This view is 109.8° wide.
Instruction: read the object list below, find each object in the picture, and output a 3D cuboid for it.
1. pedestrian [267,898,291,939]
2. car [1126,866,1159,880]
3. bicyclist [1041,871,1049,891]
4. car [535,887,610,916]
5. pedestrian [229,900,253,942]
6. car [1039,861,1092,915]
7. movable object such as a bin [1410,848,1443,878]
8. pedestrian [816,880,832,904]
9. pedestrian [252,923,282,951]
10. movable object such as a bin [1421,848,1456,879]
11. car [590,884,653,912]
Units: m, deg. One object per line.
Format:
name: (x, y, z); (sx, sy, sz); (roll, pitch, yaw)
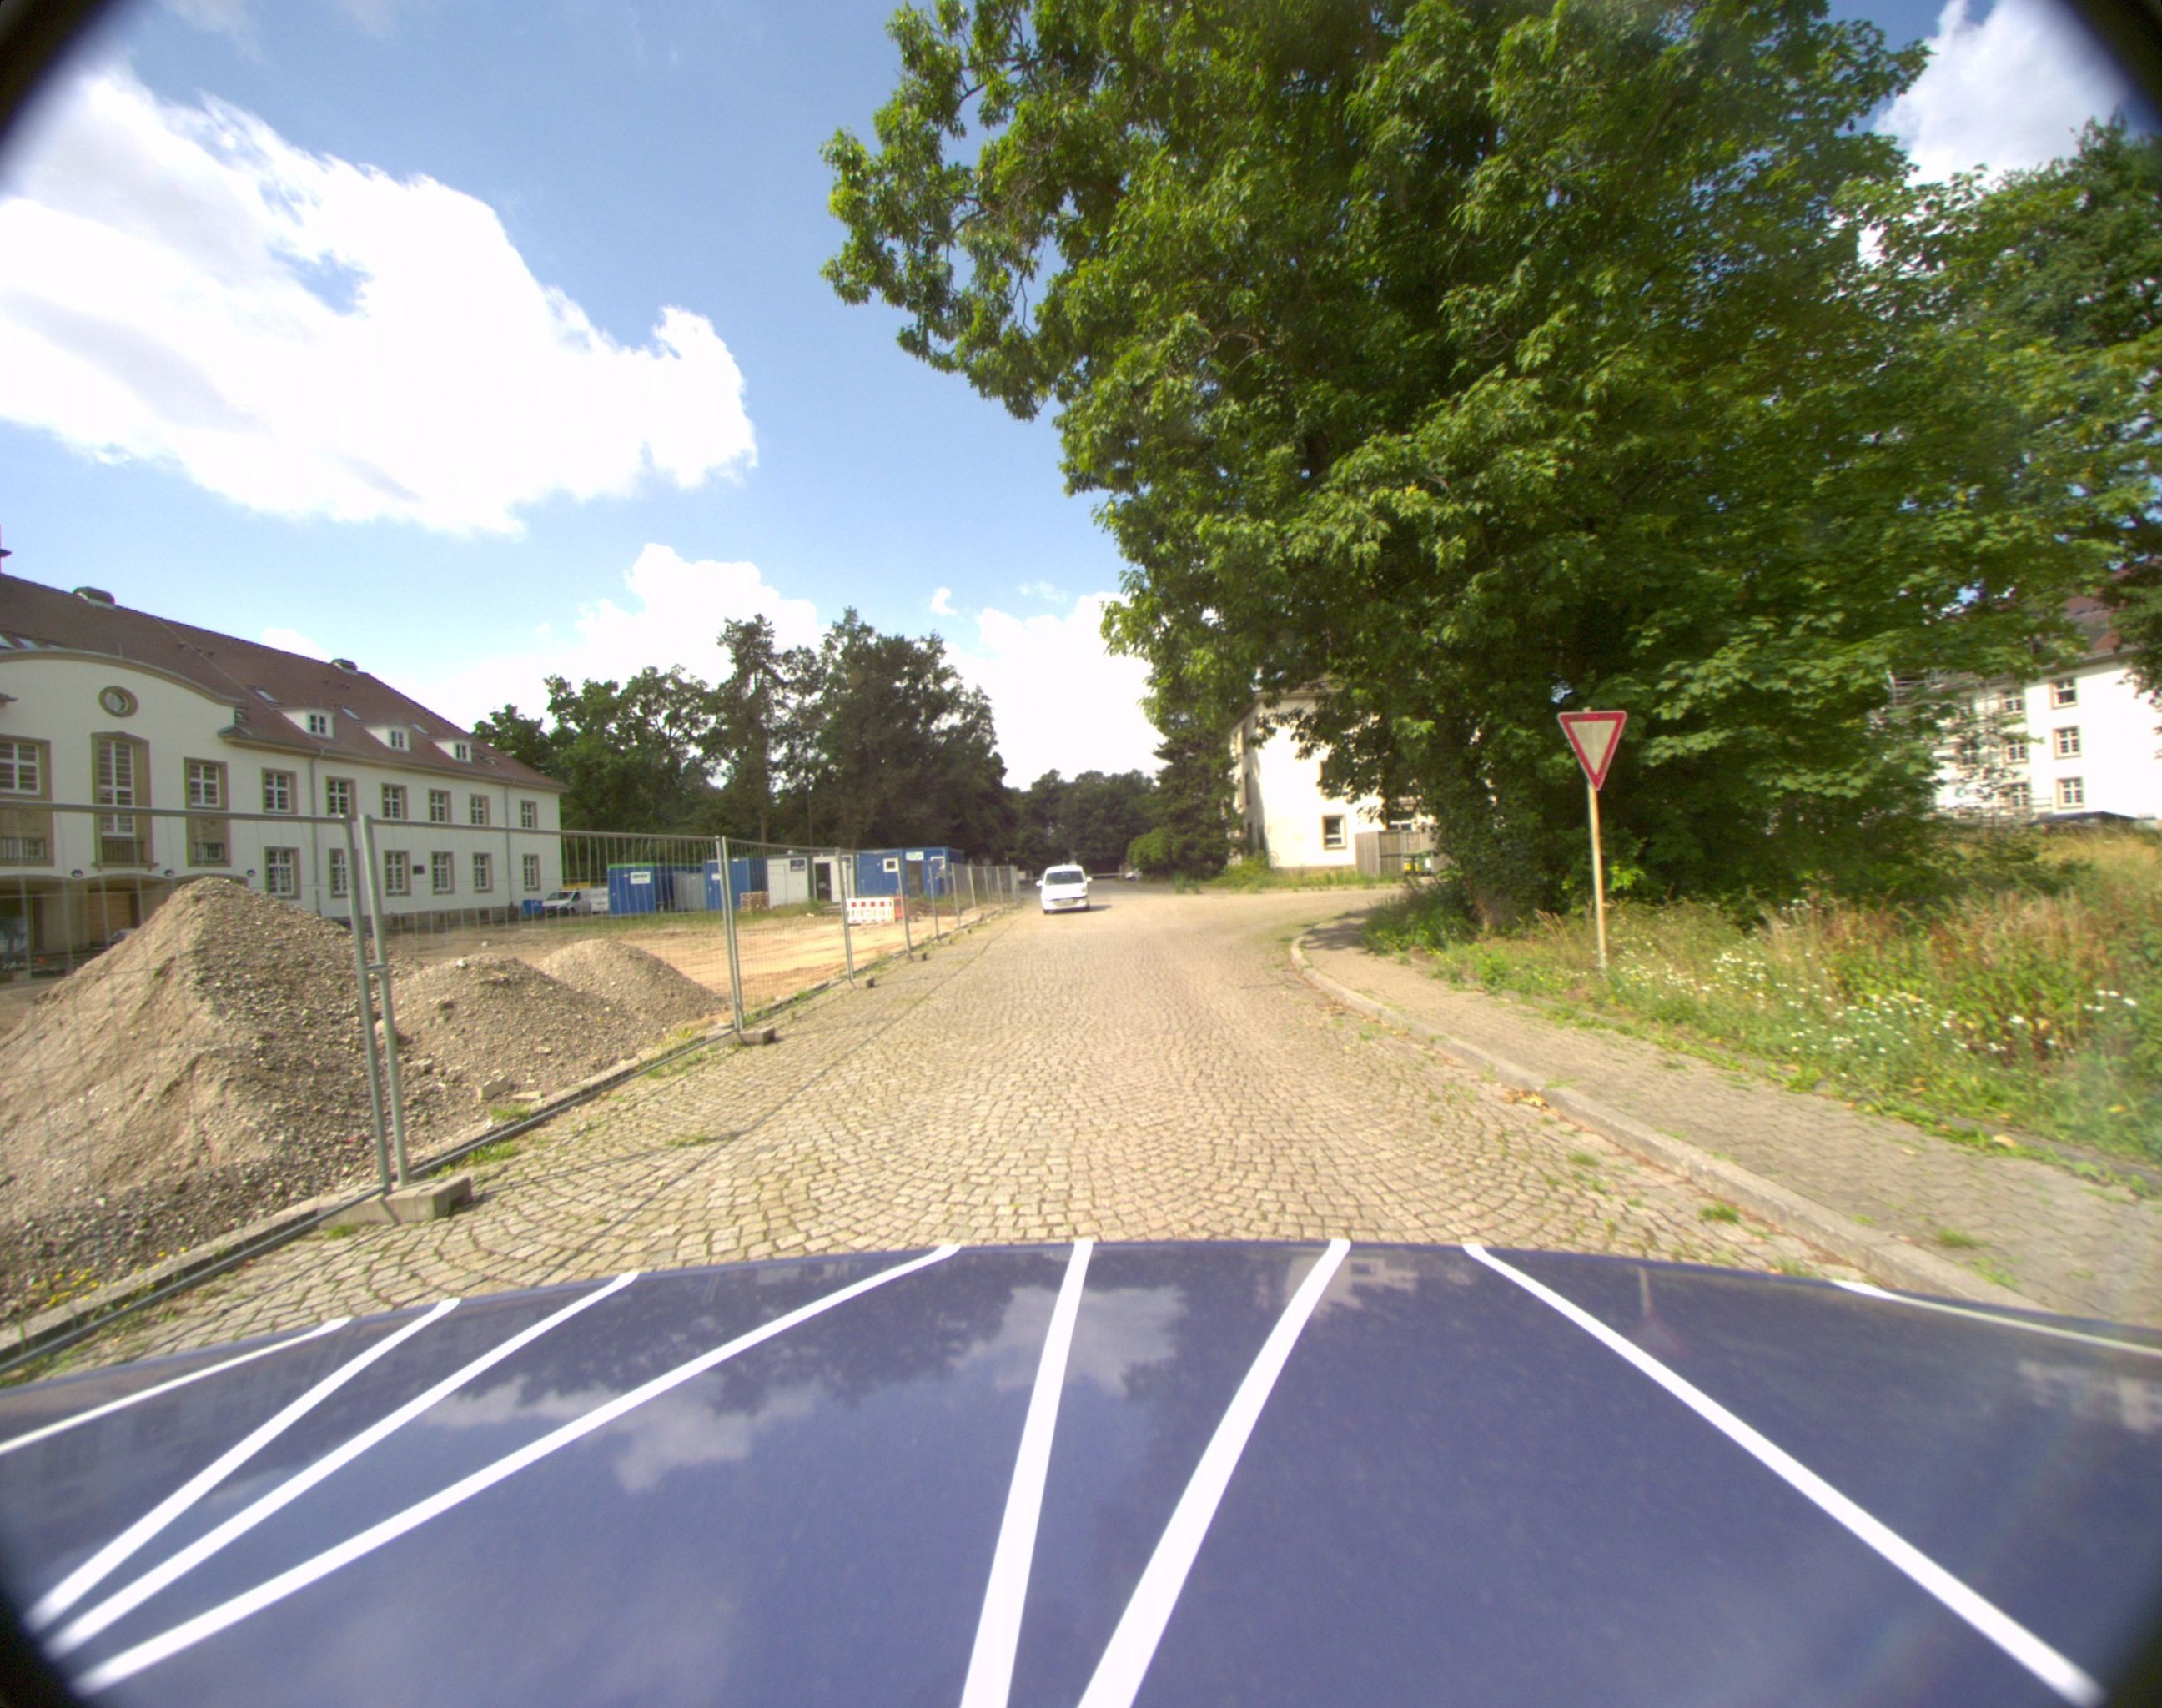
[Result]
pedestrian: (-36.516, 2.932, 34.602); (0.491, 1.777, 0.507); (-3, 0, -2)
car: (8.118, 2.454, 100.289); (4.084, 1.633, 1.767); (-3, 0, 0)
bicyclist: (-3.331, 2.485, 70.162); (0.634, 1.759, 0.571); (-4, 0, -1)
car: (-35.035, 3.248, 52.547); (1.884, 1.717, 4.709); (-3, -1, 2)
pedestrian: (-36.630, 2.919, 33.146); (0.490, 1.777, 0.507); (-4, -1, 23)
car: (-0.643, 1.338, 30.220); (1.839, 1.857, 4.831); (-3, -2, -2)
movable object such as a bin: (18.443, 0.499, 40.582); (1.172, 1.521, 1.153); (-3, 0, -2)
pedestrian: (-13.986, 2.059, 41.338); (0.602, 1.235, 0.683); (-3, -1, -1)
pedestrian: (-35.254, 3.579, 32.921); (0.491, 1.107, 0.709); (-3, -1, -1)
movable object such as a bin: (18.497, 0.481, 39.379); (1.172, 1.521, 1.153); (-3, 0, -2)
car: (-31.864, 3.020, 52.796); (1.802, 1.673, 4.040); (-3, -1, 2)
